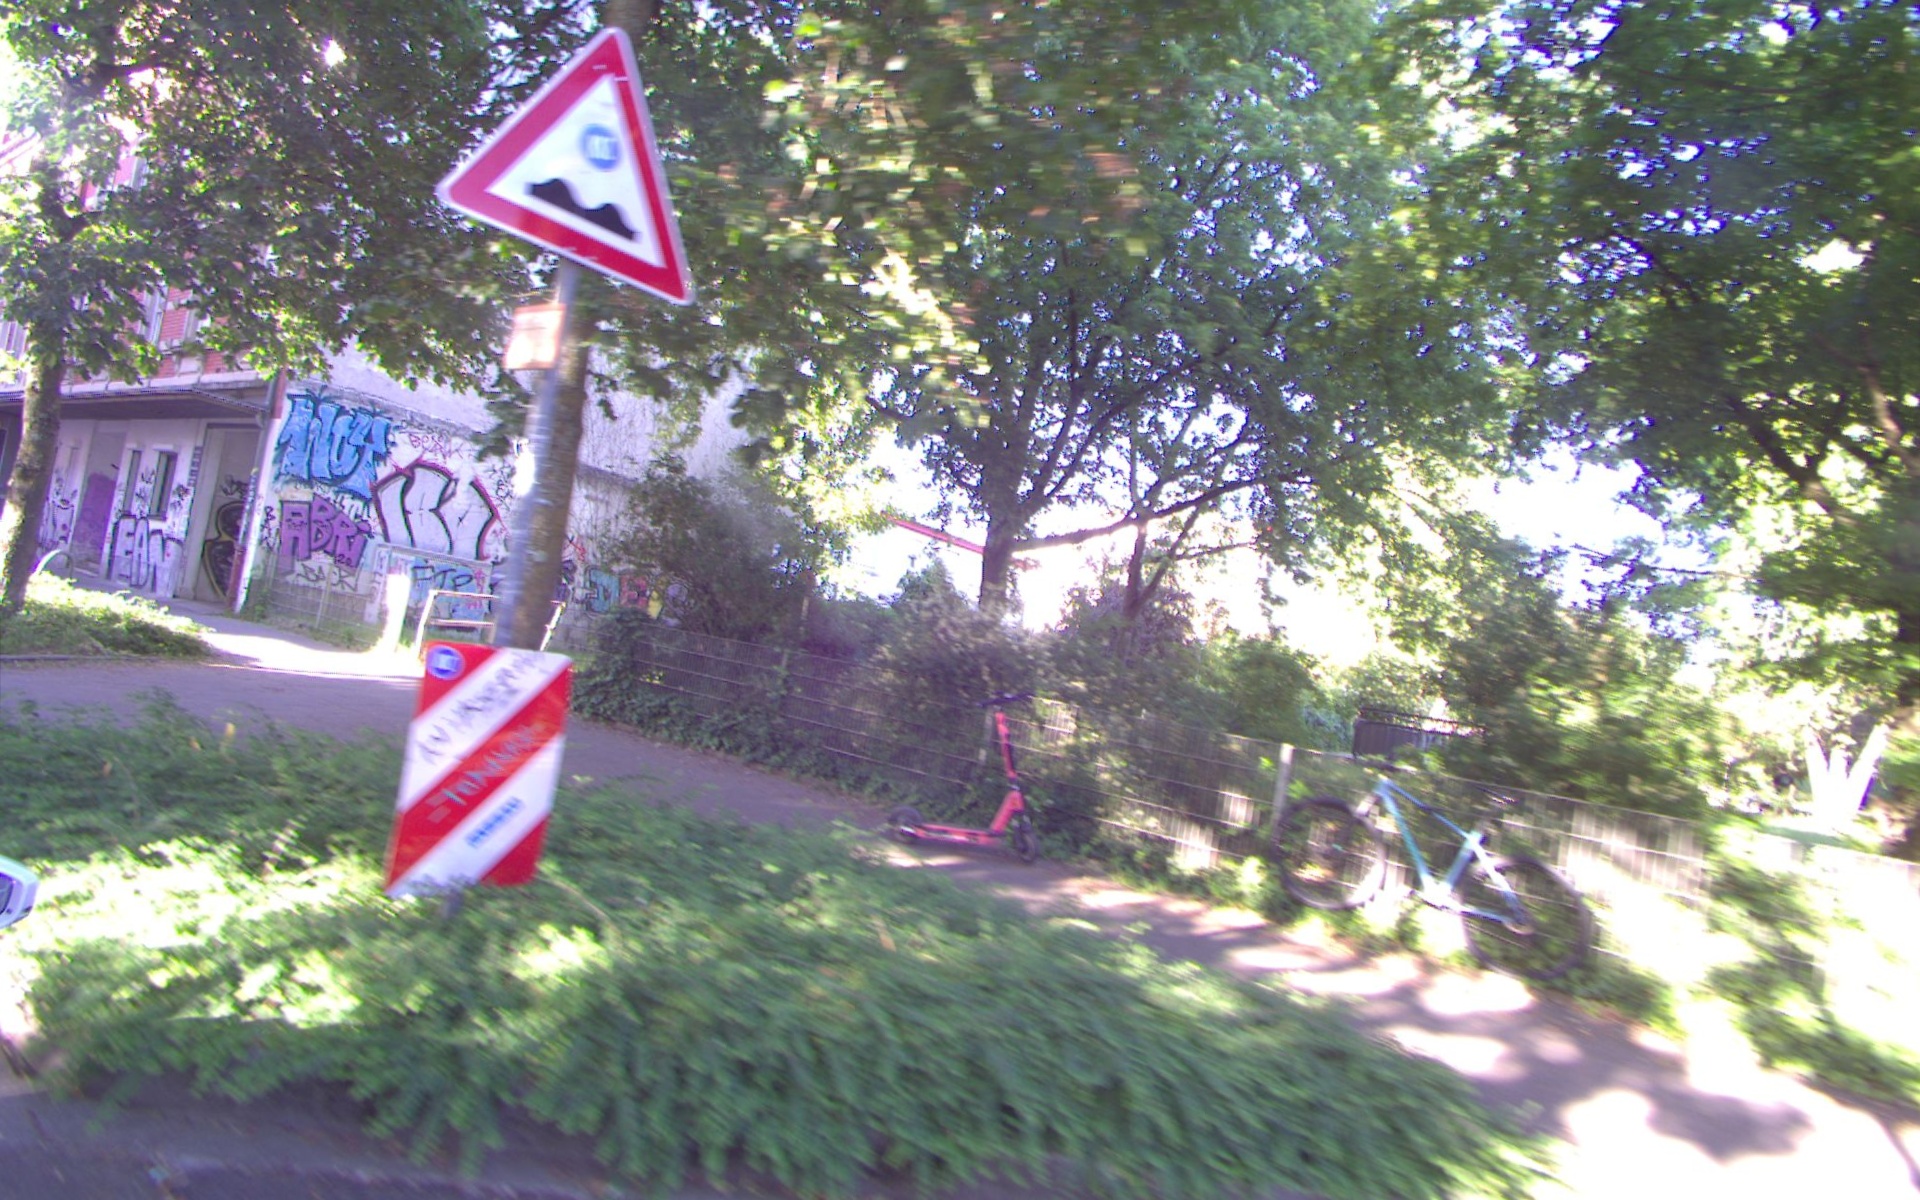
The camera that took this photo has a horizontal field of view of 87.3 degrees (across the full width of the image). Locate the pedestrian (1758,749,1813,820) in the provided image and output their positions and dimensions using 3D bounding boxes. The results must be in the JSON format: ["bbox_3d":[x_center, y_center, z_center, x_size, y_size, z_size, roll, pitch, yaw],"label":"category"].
[{"bbox_3d":[26.193,5.837,31.923,0.737,2.036,0.911,8,-1,-8],"label":"pedestrian"}]

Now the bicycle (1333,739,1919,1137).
[{"bbox_3d":[3.617,1.664,5.552,2.651,1.282,0.847,8,-2,38],"label":"bicycle"}]

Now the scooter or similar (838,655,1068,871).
[{"bbox_3d":[-0.036,1.144,7.277,1.445,1.276,0.547,8,-1,4],"label":"scooter or similar"}]

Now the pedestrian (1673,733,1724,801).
[{"bbox_3d":[24.207,5.462,32.989,0.737,2.036,0.911,8,-1,-8],"label":"pedestrian"}]

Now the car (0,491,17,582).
[{"bbox_3d":[-18.991,-1.434,18.236,4.328,1.579,1.725,7,-3,35],"label":"car"}]
